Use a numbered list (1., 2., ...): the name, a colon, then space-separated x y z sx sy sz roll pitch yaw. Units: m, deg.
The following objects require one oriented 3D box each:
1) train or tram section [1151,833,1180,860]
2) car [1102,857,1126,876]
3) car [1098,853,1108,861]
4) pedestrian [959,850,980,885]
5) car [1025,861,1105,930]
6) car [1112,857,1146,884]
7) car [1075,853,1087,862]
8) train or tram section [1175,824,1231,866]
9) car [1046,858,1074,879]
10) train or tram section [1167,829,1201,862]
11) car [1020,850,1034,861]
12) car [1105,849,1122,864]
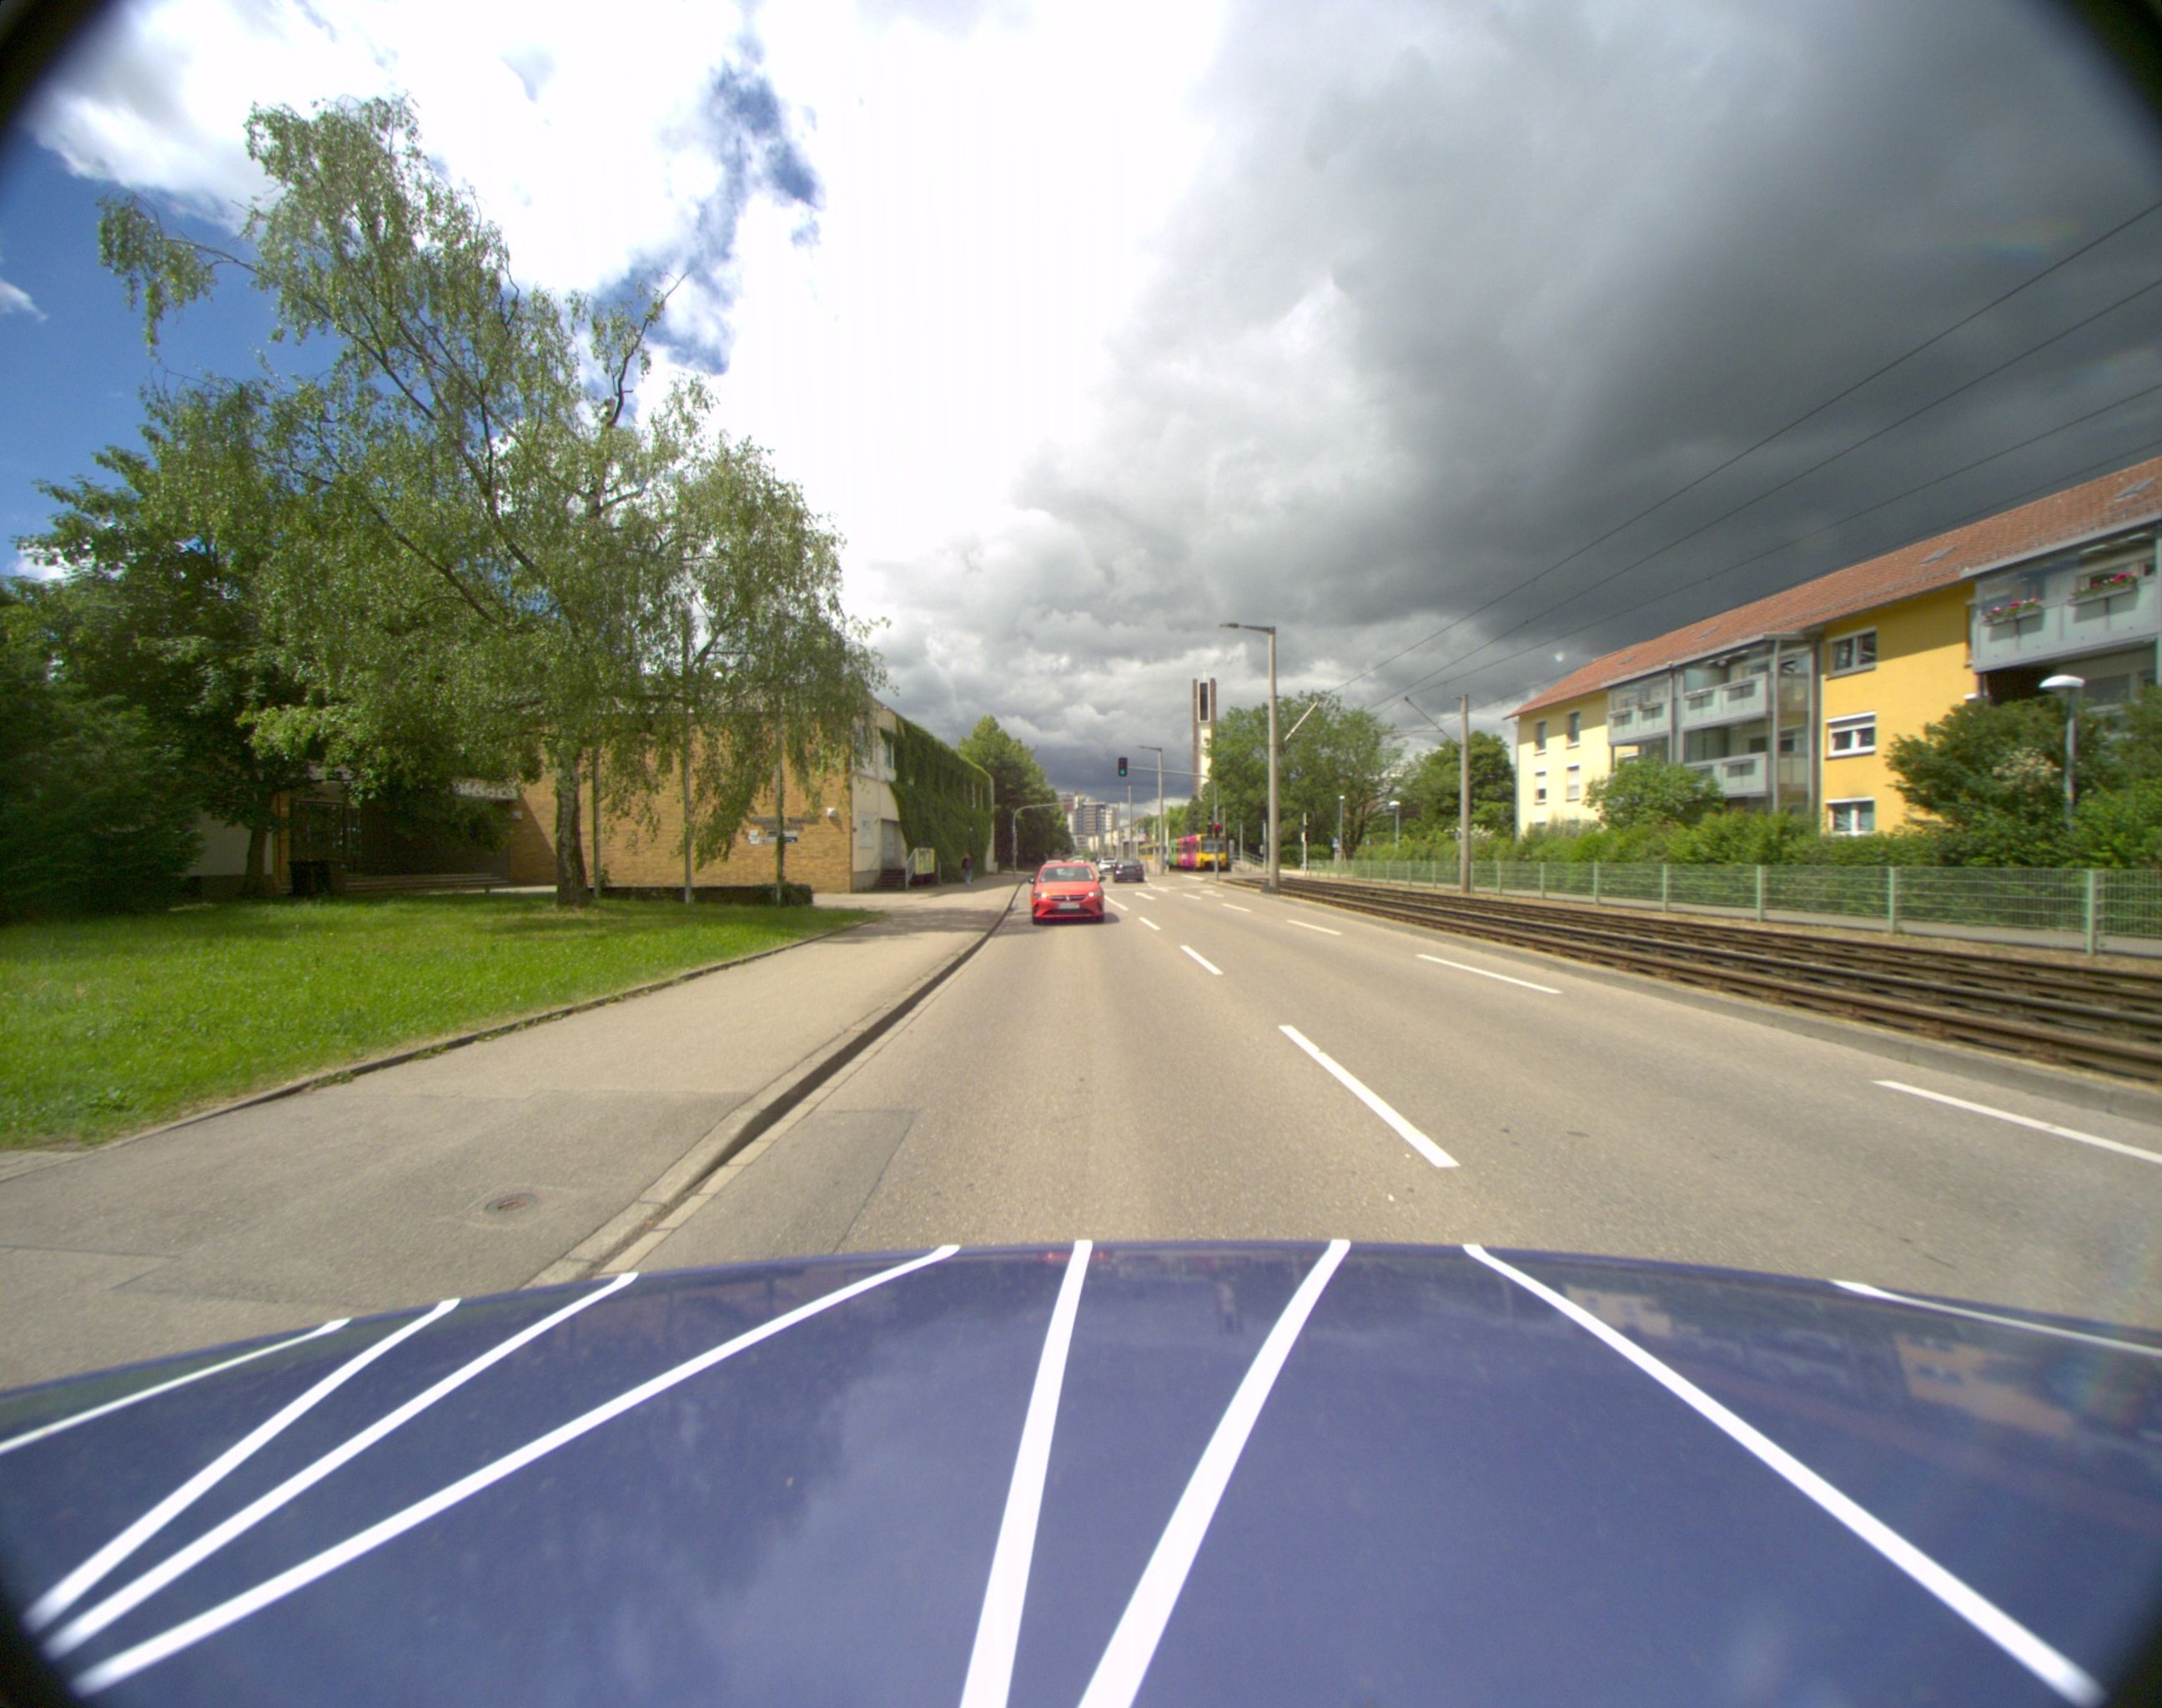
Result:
1. train or tram section: 12.725 -1.141 115.375 2.988 3.840 12.199 -2 1 0
2. car: 2.890 1.085 67.659 1.765 1.543 3.999 -1 1 -2
3. car: 4.024 0.548 137.667 1.722 1.433 4.008 -1 1 0
4. pedestrian: -5.751 0.670 39.156 0.811 1.761 0.817 2 1 7
5. car: -0.293 0.960 19.282 1.756 1.433 4.226 -1 1 2
6. car: 2.806 0.931 45.096 1.633 1.424 4.166 -2 0 -2
7. car: 0.050 0.529 122.368 1.821 1.433 4.008 -1 1 -2
8. train or tram section: 12.449 -0.907 79.898 2.988 3.840 18.536 -2 1 1
9. car: -1.535 1.036 56.070 1.756 1.433 4.226 -1 1 2
10. train or tram section: 12.551 -1.031 93.391 2.988 3.840 8.377 -2 1 0
11. car: -8.638 0.226 121.436 1.655 1.533 3.677 -1 1 6
12. car: 3.630 0.275 84.606 1.667 1.543 3.999 -2 1 0
